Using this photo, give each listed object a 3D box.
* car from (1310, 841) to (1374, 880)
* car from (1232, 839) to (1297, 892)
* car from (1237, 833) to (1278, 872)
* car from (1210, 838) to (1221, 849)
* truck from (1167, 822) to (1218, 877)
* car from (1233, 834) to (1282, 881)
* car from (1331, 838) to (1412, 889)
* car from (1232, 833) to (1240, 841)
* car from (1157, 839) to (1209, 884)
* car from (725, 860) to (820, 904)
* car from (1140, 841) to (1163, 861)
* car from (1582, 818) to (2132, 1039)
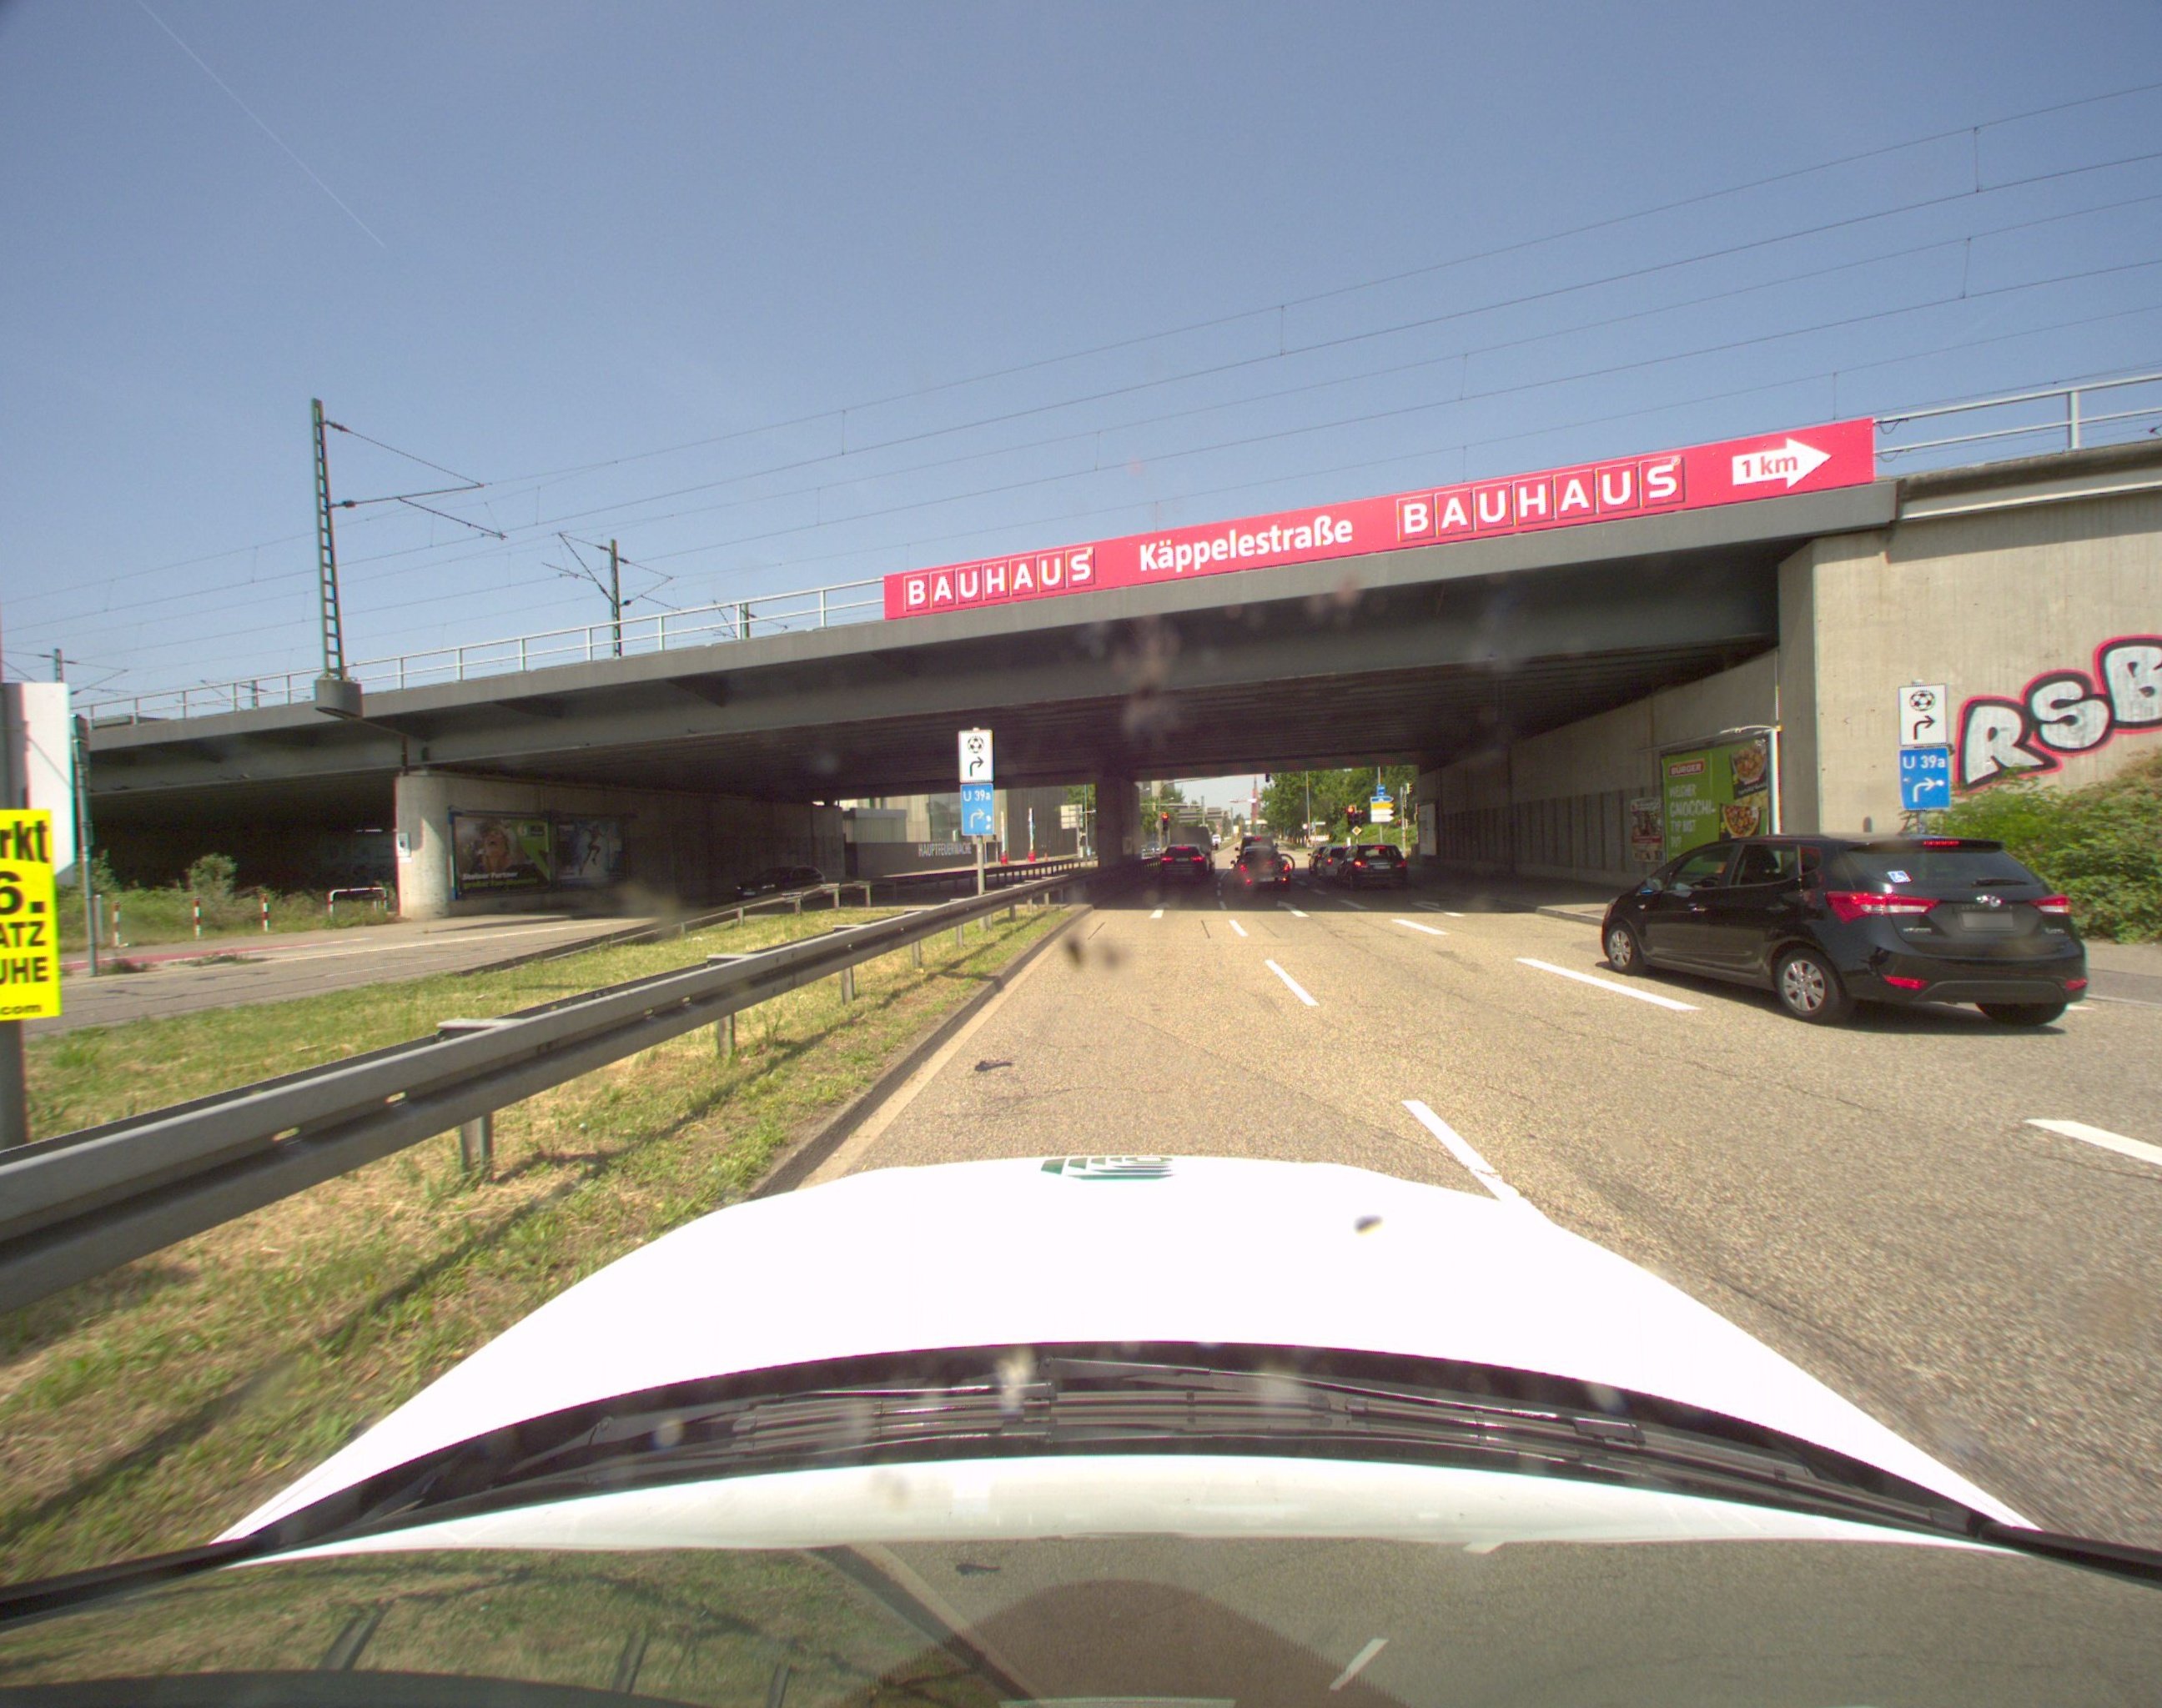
[{"bbox_3d":[10.830,0.242,34.056,1.894,1.488,4.010,-2,0,9],"label":"car"},{"bbox_3d":[6.192,0.350,27.932,1.945,1.633,4.292,-1,0,10],"label":"car"},{"bbox_3d":[9.169,-0.078,42.596,1.829,1.890,4.010,-2,0,9],"label":"car"},{"bbox_3d":[28.013,-2.197,169.476,1.980,2.013,4.013,-4,0,11],"label":"car"},{"bbox_3d":[5.698,-0.211,41.165,2.053,2.538,4.014,-3,0,13],"label":"truck"},{"bbox_3d":[7.619,0.142,35.459,1.829,1.890,4.010,-2,0,9],"label":"car"},{"bbox_3d":[9.801,0.295,27.783,1.829,1.568,4.010,-2,0,9],"label":"car"},{"bbox_3d":[46.175,-5.048,242.646,1.982,2.013,4.010,-2,0,9],"label":"car"},{"bbox_3d":[4.285,0.292,33.824,1.929,1.721,4.010,-2,0,9],"label":"car"},{"bbox_3d":[-12.603,1.102,33.573,1.843,1.622,4.011,-2,0,10],"label":"car"},{"bbox_3d":[7.749,-0.300,89.391,1.981,2.013,4.012,-4,0,10],"label":"car"},{"bbox_3d":[6.910,0.527,7.993,1.759,1.599,4.083,0,0,5],"label":"car"}]
